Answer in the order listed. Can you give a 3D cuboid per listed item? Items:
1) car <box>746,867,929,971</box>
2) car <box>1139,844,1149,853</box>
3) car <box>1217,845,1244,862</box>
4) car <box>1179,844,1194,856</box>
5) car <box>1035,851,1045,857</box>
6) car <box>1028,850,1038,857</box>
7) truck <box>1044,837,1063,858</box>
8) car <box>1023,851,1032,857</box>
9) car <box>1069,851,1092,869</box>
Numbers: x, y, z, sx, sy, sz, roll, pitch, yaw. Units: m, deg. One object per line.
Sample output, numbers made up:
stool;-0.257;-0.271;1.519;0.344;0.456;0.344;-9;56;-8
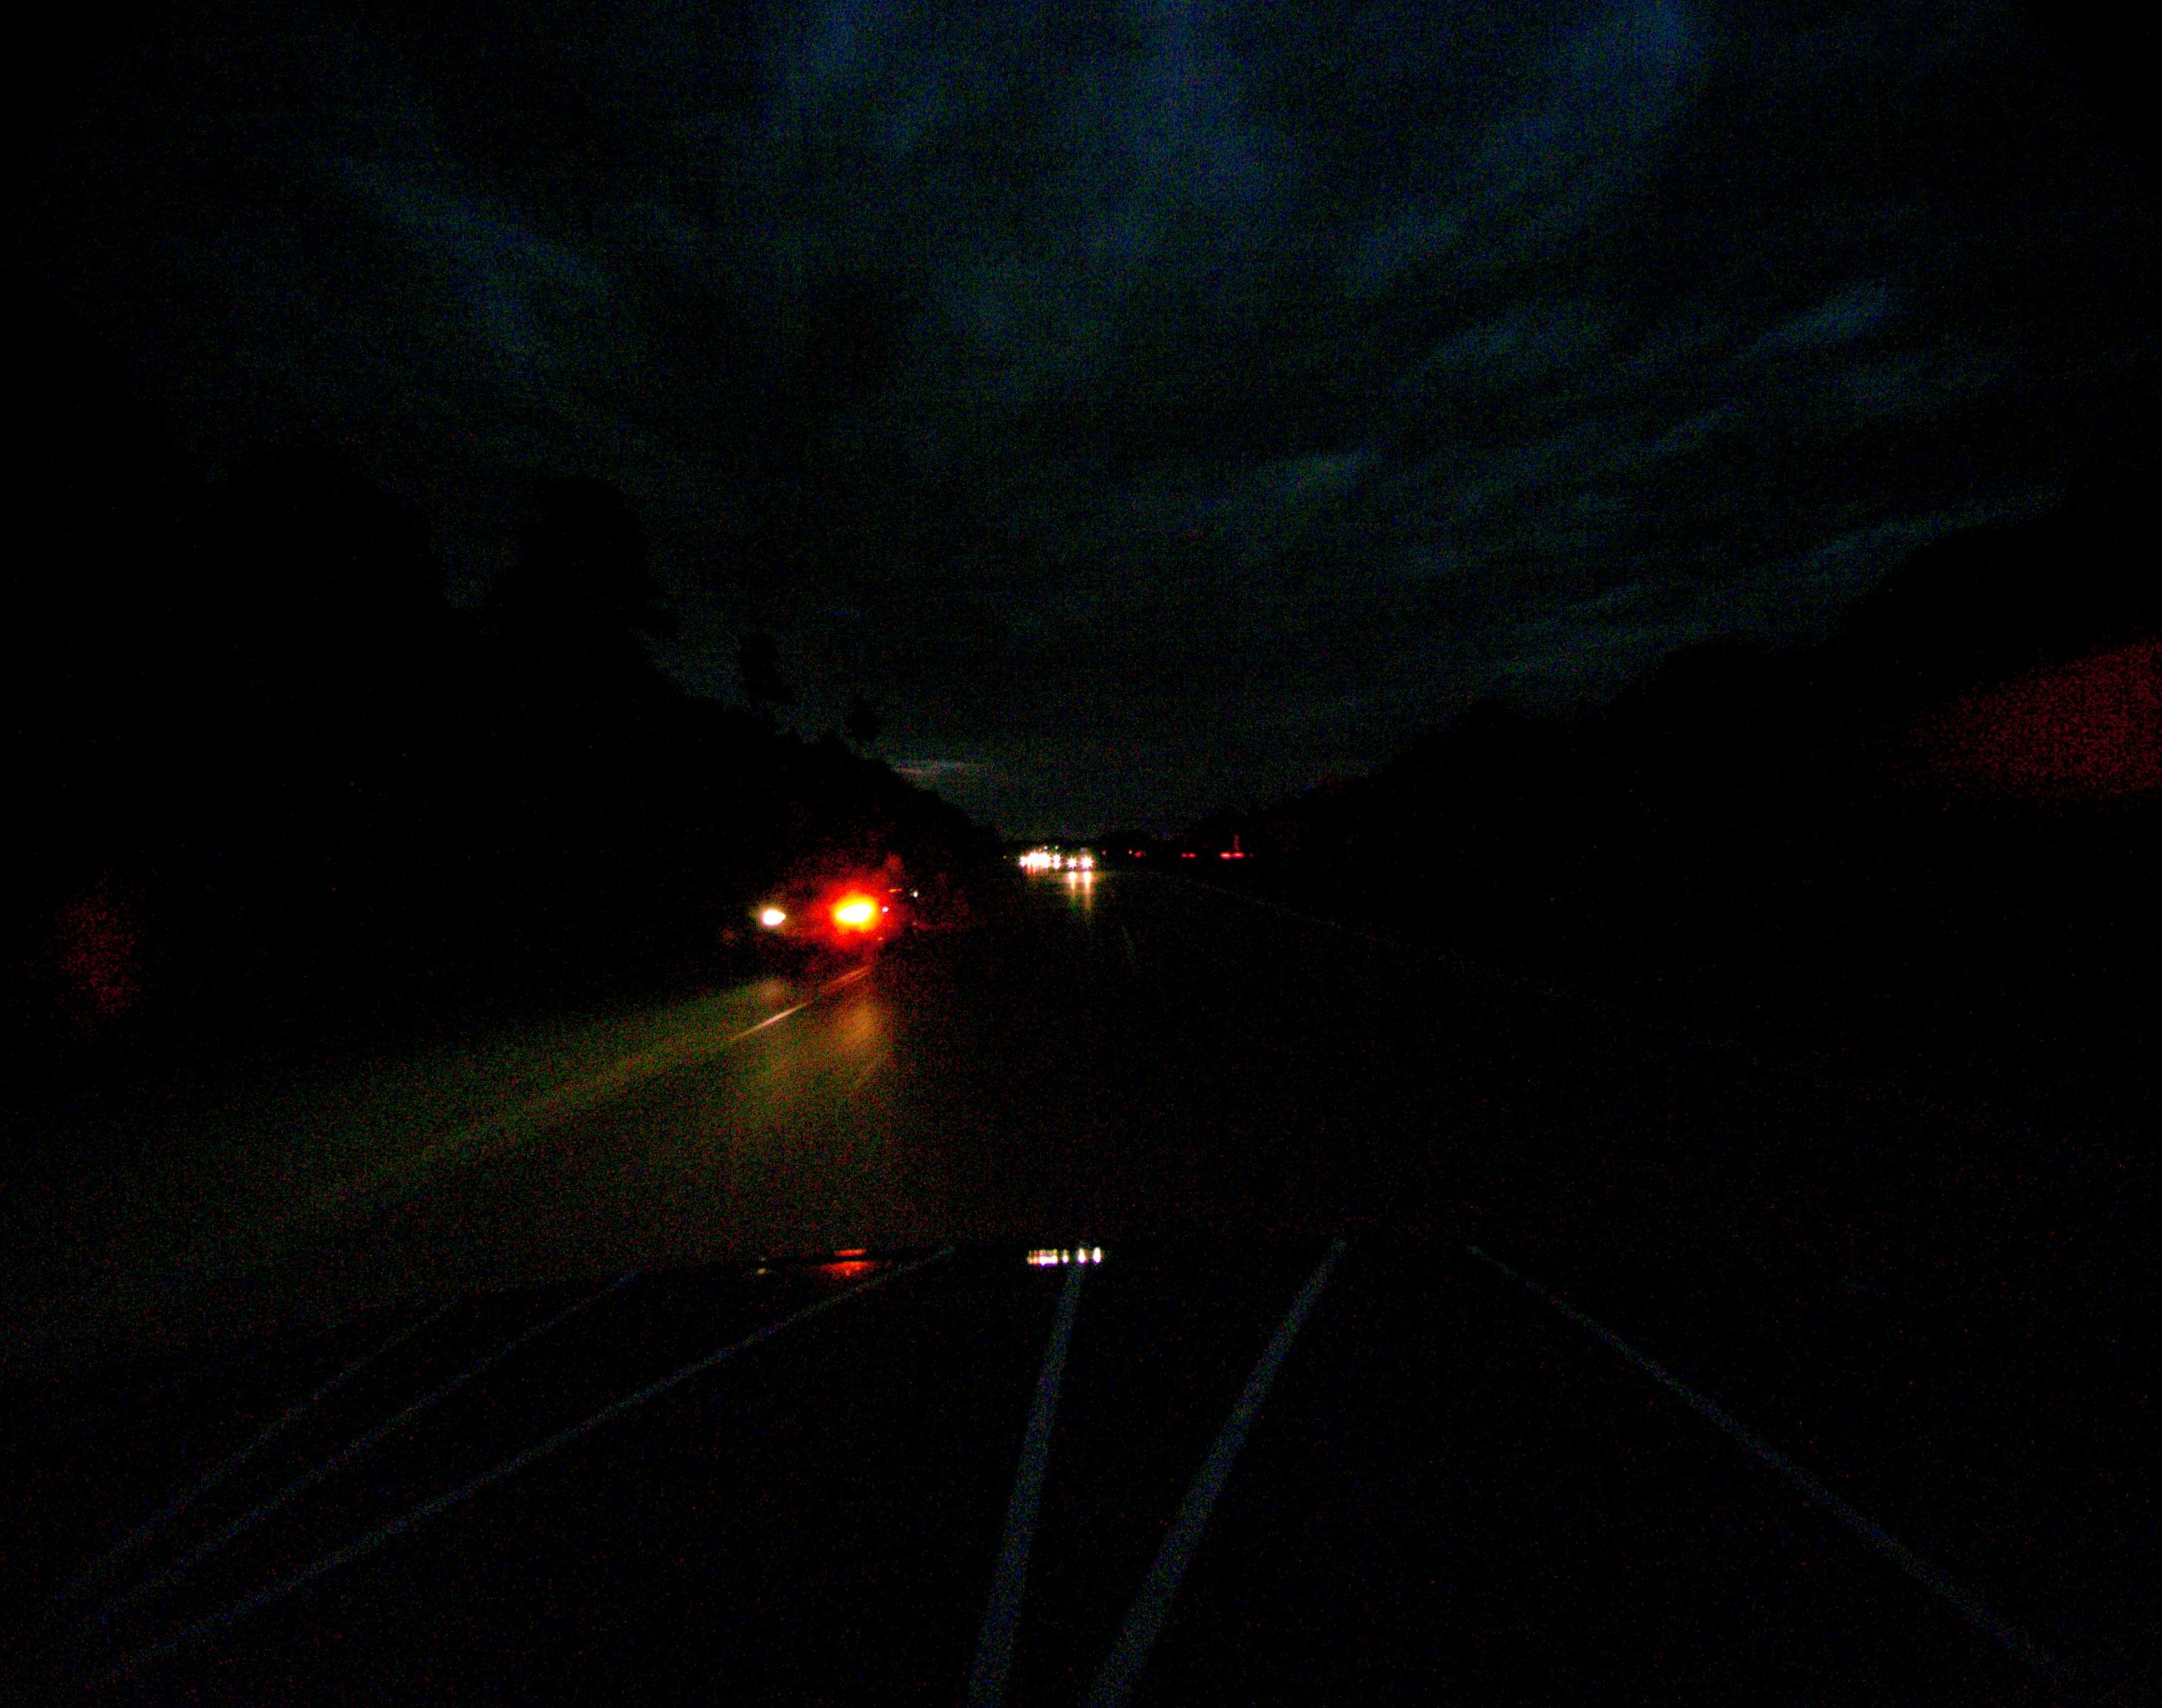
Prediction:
car;-4.171;1.034;13.857;1.880;1.435;4.450;-2;0;0
car;16.691;-1.379;201.587;1.999;2.213;4.372;-2;0;-1
car;15.947;-0.074;81.162;1.998;1.787;4.206;-2;0;1
car;19.148;-0.730;137.845;1.999;2.142;4.372;-2;0;-1
car;-10.165;0.020;188.380;1.998;1.539;4.000;-2;0;1
car;-10.741;-0.144;169.680;1.998;1.539;4.000;-2;0;1
truck;-5.407;-1.267;150.222;3.145;3.987;10.543;-2;0;0
car;-14.086;0.022;201.692;1.998;1.539;4.000;-2;0;1
car;-0.035;0.539;71.528;1.998;1.539;4.000;-2;0;1
